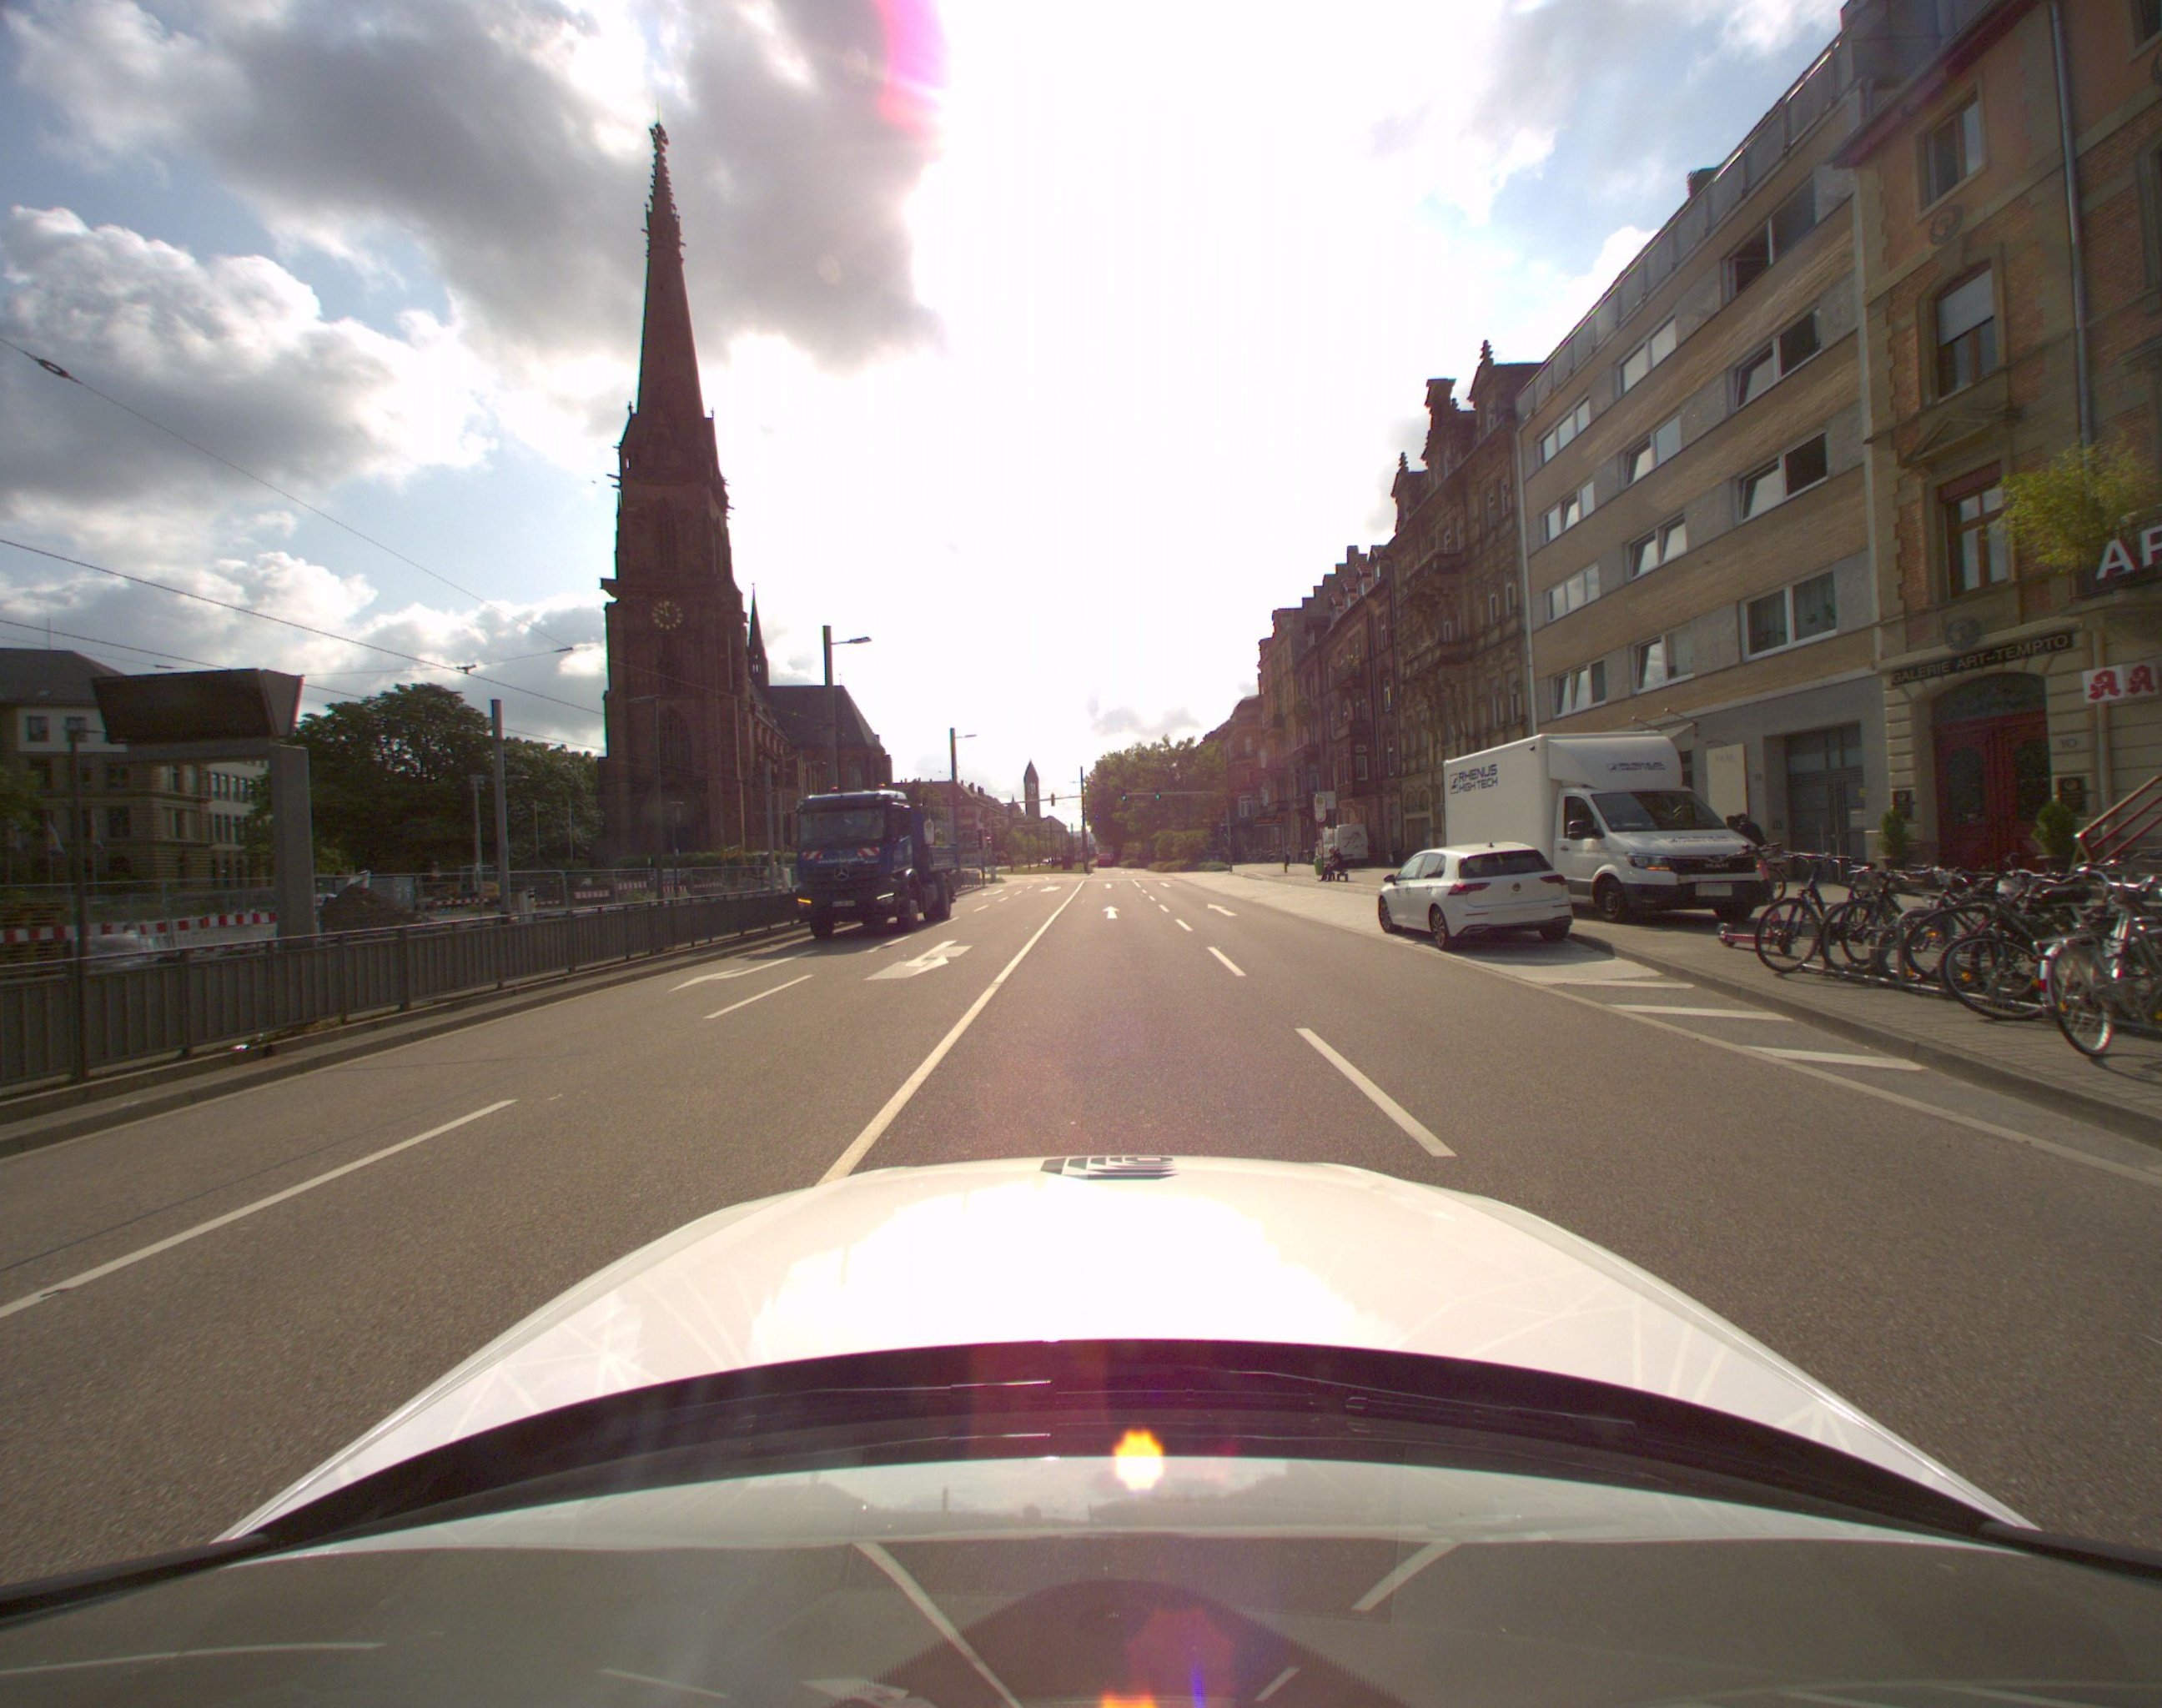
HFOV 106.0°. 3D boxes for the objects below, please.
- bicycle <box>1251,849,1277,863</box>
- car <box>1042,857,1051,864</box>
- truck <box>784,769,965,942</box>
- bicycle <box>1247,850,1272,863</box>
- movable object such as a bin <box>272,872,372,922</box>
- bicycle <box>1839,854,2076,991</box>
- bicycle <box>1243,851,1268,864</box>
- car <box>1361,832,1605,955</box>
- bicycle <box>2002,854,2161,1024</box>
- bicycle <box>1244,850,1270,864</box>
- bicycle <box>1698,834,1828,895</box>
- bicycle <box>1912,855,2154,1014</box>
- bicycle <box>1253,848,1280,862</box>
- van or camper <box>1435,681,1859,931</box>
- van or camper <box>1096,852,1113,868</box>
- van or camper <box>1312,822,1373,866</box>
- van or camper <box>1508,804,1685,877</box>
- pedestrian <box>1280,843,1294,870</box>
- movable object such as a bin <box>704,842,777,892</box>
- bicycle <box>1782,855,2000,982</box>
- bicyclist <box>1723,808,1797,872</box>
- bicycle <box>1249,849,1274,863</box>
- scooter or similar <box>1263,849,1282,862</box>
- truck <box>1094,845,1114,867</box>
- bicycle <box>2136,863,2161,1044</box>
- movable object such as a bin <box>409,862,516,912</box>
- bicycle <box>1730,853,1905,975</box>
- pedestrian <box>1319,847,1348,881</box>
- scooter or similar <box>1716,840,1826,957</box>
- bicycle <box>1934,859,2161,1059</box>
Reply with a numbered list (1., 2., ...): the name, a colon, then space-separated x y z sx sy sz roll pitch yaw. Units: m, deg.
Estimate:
1. bicycle: 16.648 0.147 74.096 2.185 1.181 0.683 -2 0 -3
2. car: -9.898 1.780 233.269 1.984 1.794 4.005 -3 0 5
3. truck: -5.034 0.033 21.491 2.453 3.648 7.453 -3 0 2
4. bicycle: 16.516 0.234 75.452 2.185 1.181 0.683 -2 0 -3
5. movable object such as a bin: -38.067 2.087 40.988 1.999 2.206 4.246 -2 0 -18
6. bicycle: 7.454 0.561 6.940 1.755 1.085 0.372 -1 1 -5
7. bicycle: 16.458 0.324 76.870 2.185 1.181 0.683 -2 0 -3
8. car: 5.976 0.535 12.776 1.783 1.437 4.347 -5 -1 3
9. bicycle: 7.406 0.561 5.745 1.759 1.085 0.371 -1 1 -11
10. bicycle: 16.459 0.281 76.190 2.185 1.181 0.683 -2 0 -3
11. bicycle: 12.928 0.242 15.552 0.701 1.048 2.210 0 -4 4
12. bicycle: 7.161 0.570 6.128 1.759 1.085 0.371 -1 1 -11
13. bicycle: 16.696 0.098 73.331 2.185 1.181 0.683 -2 0 -3
14. van or camper: 9.410 -0.647 14.985 2.701 3.331 7.646 -2 0 3
15. van or camper: 3.226 0.841 110.931 2.004 1.915 4.517 0 -4 -2
16. van or camper: 15.885 -0.563 49.726 1.986 2.474 5.567 -3 0 2
17. van or camper: 15.695 -0.373 25.257 1.988 1.905 5.296 -4 0 -1
18. pedestrian: 15.557 0.224 61.469 0.882 2.014 0.996 0 -1 2
19. movable object such as a bin: -26.808 0.942 64.437 2.650 3.730 5.608 -2 0 9
20. bicycle: 7.427 0.571 7.484 1.755 1.085 0.372 -1 1 -5
21. bicyclist: 12.933 -0.255 15.537 0.705 1.148 0.814 0 -4 4
22. bicycle: 16.563 0.189 74.746 2.185 1.181 0.683 -2 0 -3
23. scooter or similar: 16.662 0.113 70.878 1.558 1.097 0.452 -2 0 5
24. truck: 4.041 0.376 141.165 3.157 3.287 7.299 -1 -3 2
25. bicycle: 7.400 0.588 4.968 1.757 1.085 0.371 -1 1 -8
26. movable object such as a bin: -37.439 1.967 49.371 4.885 2.801 2.001 -2 0 1
27. bicycle: 7.177 0.554 7.931 1.761 1.085 0.370 -1 1 -15
28. pedestrian: 9.764 0.384 31.507 0.748 1.316 0.812 1 -1 -37
29. scooter or similar: 7.664 0.459 9.091 0.366 1.213 1.255 0 0 11
30. bicycle: 5.997 0.594 5.020 1.601 1.085 0.370 -1 1 -18
